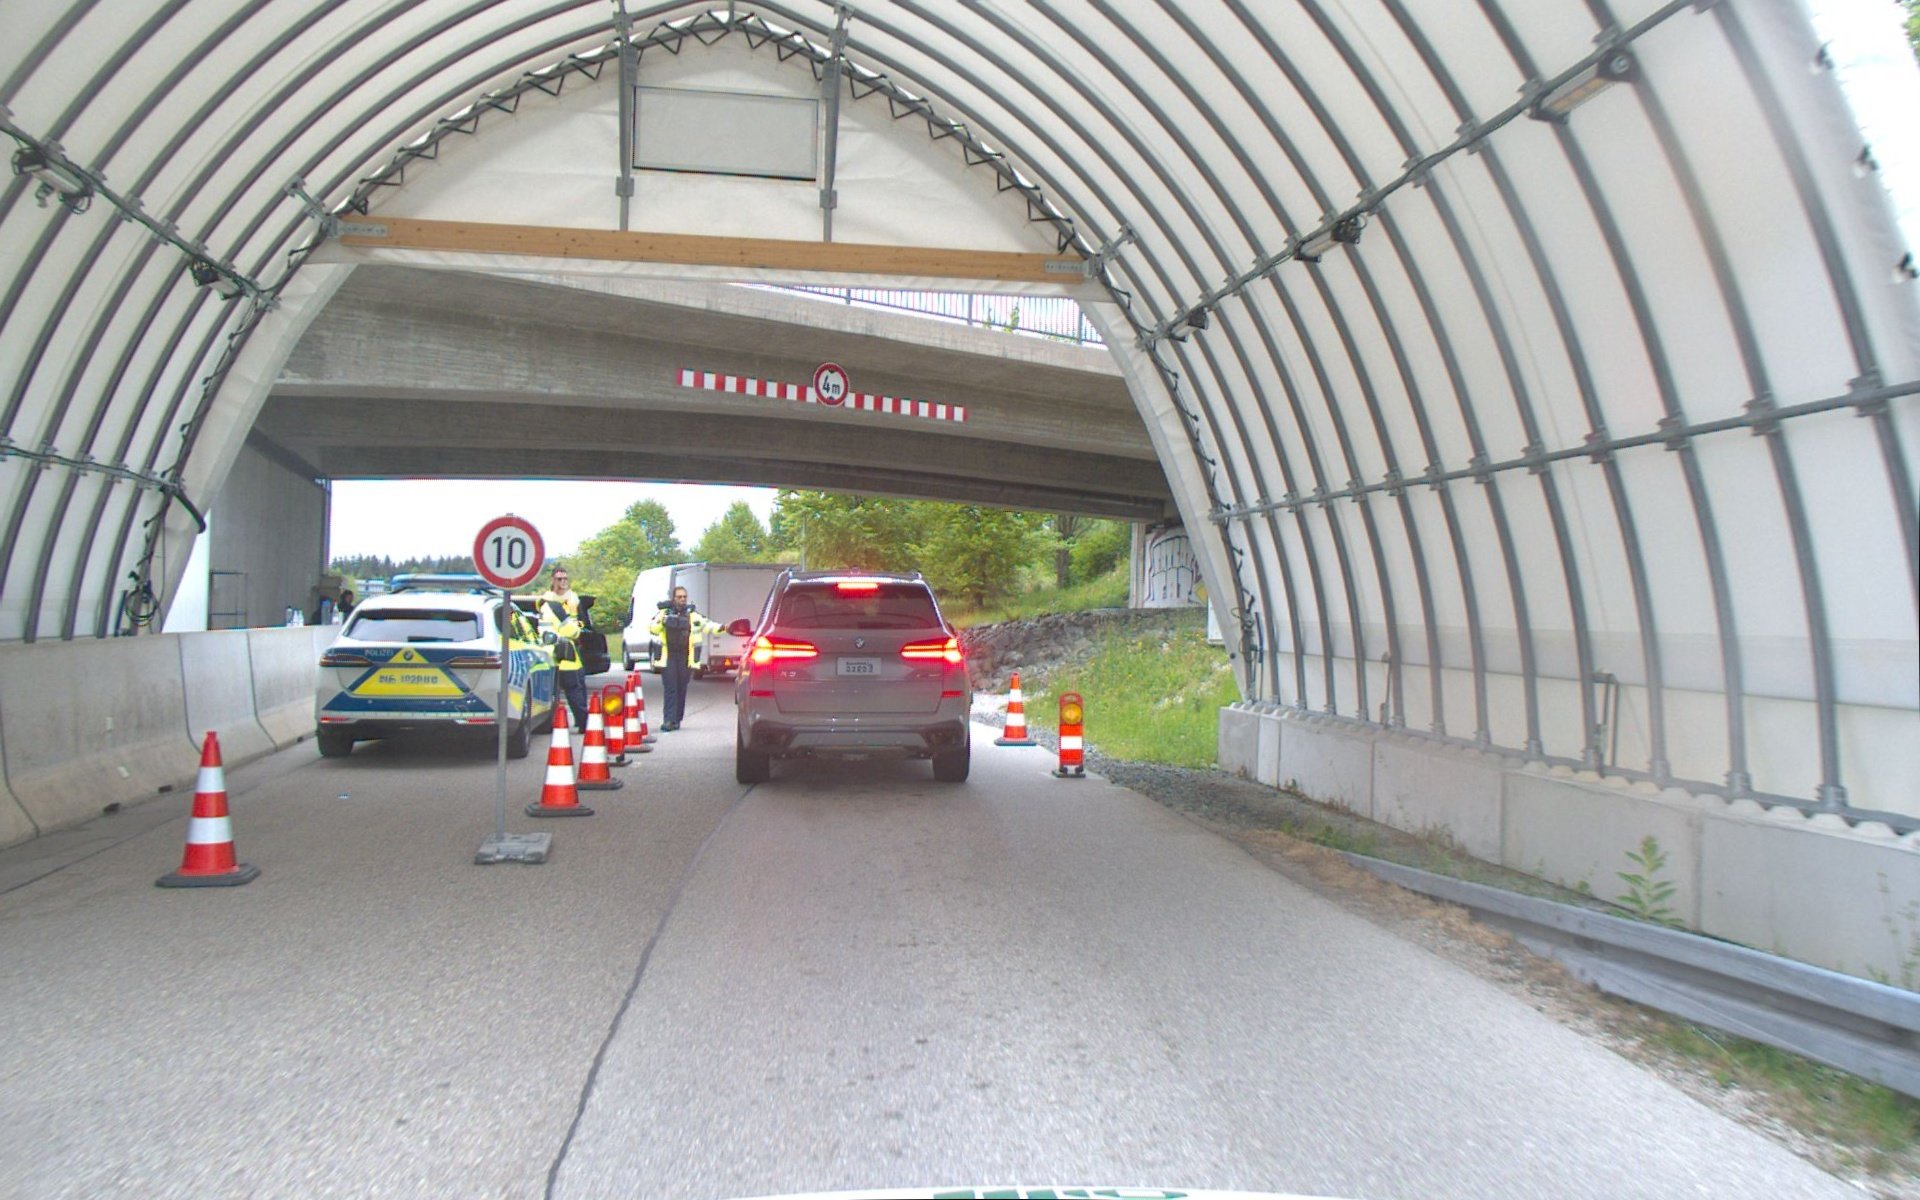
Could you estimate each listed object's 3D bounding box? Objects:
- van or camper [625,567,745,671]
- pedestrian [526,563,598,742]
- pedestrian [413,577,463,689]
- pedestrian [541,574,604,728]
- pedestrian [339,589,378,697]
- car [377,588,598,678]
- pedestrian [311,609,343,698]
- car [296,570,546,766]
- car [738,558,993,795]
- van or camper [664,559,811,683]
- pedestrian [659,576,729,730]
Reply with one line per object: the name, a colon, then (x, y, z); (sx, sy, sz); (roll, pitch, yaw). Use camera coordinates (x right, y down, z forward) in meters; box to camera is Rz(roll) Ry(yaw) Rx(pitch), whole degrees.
van or camper: (-7.373, 0.481, 43.846); (2.074, 2.563, 5.515); (0, 0, -21)
pedestrian: (-4.452, 0.579, 18.524); (0.736, 1.952, 0.761); (0, -1, -11)
pedestrian: (-9.699, 0.609, 30.728); (0.686, 2.049, 0.692); (0, -1, 3)
pedestrian: (-4.591, 0.592, 19.605); (0.596, 1.784, 0.666); (-1, -1, -2)
pedestrian: (-11.565, 0.826, 31.812); (0.613, 2.049, 0.654); (0, -1, -13)
car: (-11.113, 0.756, 39.005); (4.703, 2.049, 1.842); (0, 0, 11)
pedestrian: (-11.342, 0.947, 29.624); (0.494, 1.573, 0.461); (0, -1, -17)
car: (-5.178, 0.590, 16.374); (1.844, 1.675, 3.989); (0, 0, -11)
car: (-0.914, 0.593, 14.768); (1.955, 1.796, 3.995); (-1, 0, -6)
van or camper: (-5.248, 0.453, 38.111); (2.196, 2.597, 6.575); (0, 0, -18)
pedestrian: (-3.132, 0.610, 19.406); (0.766, 1.752, 0.754); (0, -1, -12)
